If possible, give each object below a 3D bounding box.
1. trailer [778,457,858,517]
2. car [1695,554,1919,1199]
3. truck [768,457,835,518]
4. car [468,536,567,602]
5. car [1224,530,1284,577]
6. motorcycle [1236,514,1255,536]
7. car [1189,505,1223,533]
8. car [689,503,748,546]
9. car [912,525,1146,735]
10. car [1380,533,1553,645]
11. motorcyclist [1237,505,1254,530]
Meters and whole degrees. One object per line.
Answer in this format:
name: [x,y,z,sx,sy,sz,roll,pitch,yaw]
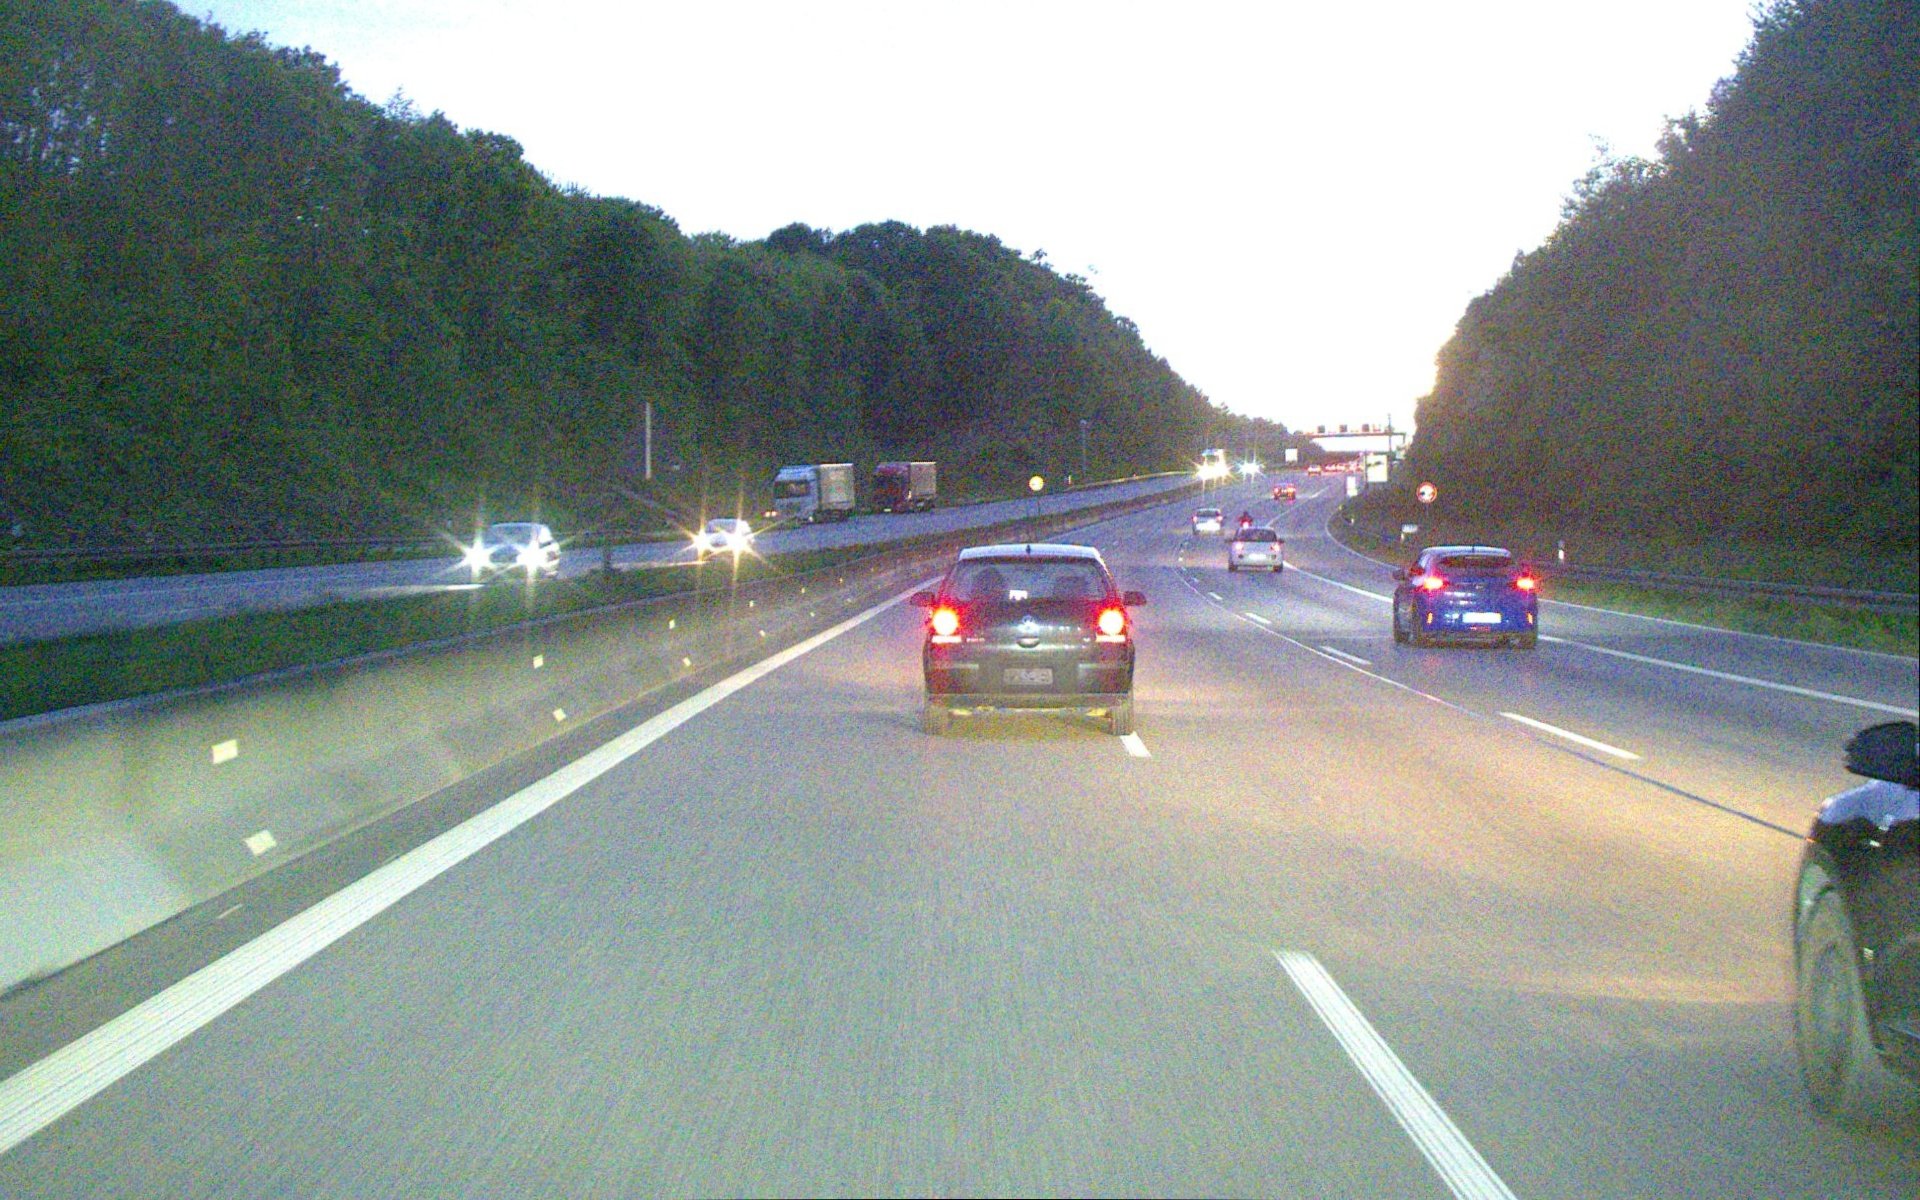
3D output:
trailer: [-9.981,-8.021,243.362,3.192,4.090,13.737,0,2,8]
car: [3.026,0.670,7.538,1.691,1.485,4.949,1,1,-1]
truck: [-10.903,-7.753,236.989,3.192,4.090,7.687,0,2,9]
car: [-10.526,-0.767,81.981,1.819,1.474,4.371,1,1,-1]
car: [9.658,-1.532,113.078,1.826,1.470,4.398,1,1,4]
motorcycle: [14.746,-3.868,177.320,0.830,1.130,2.475,-1,2,8]
car: [13.718,-4.525,191.897,1.865,1.489,4.398,1,1,4]
car: [-8.550,-2.670,121.801,1.819,1.474,4.371,1,1,-1]
car: [0.482,0.178,27.452,1.704,1.504,4.232,1,1,-1]
car: [7.241,-0.202,49.557,1.865,1.430,4.584,1,2,1]
motorcyclist: [14.727,-4.261,177.241,0.830,1.287,1.190,-1,2,8]
